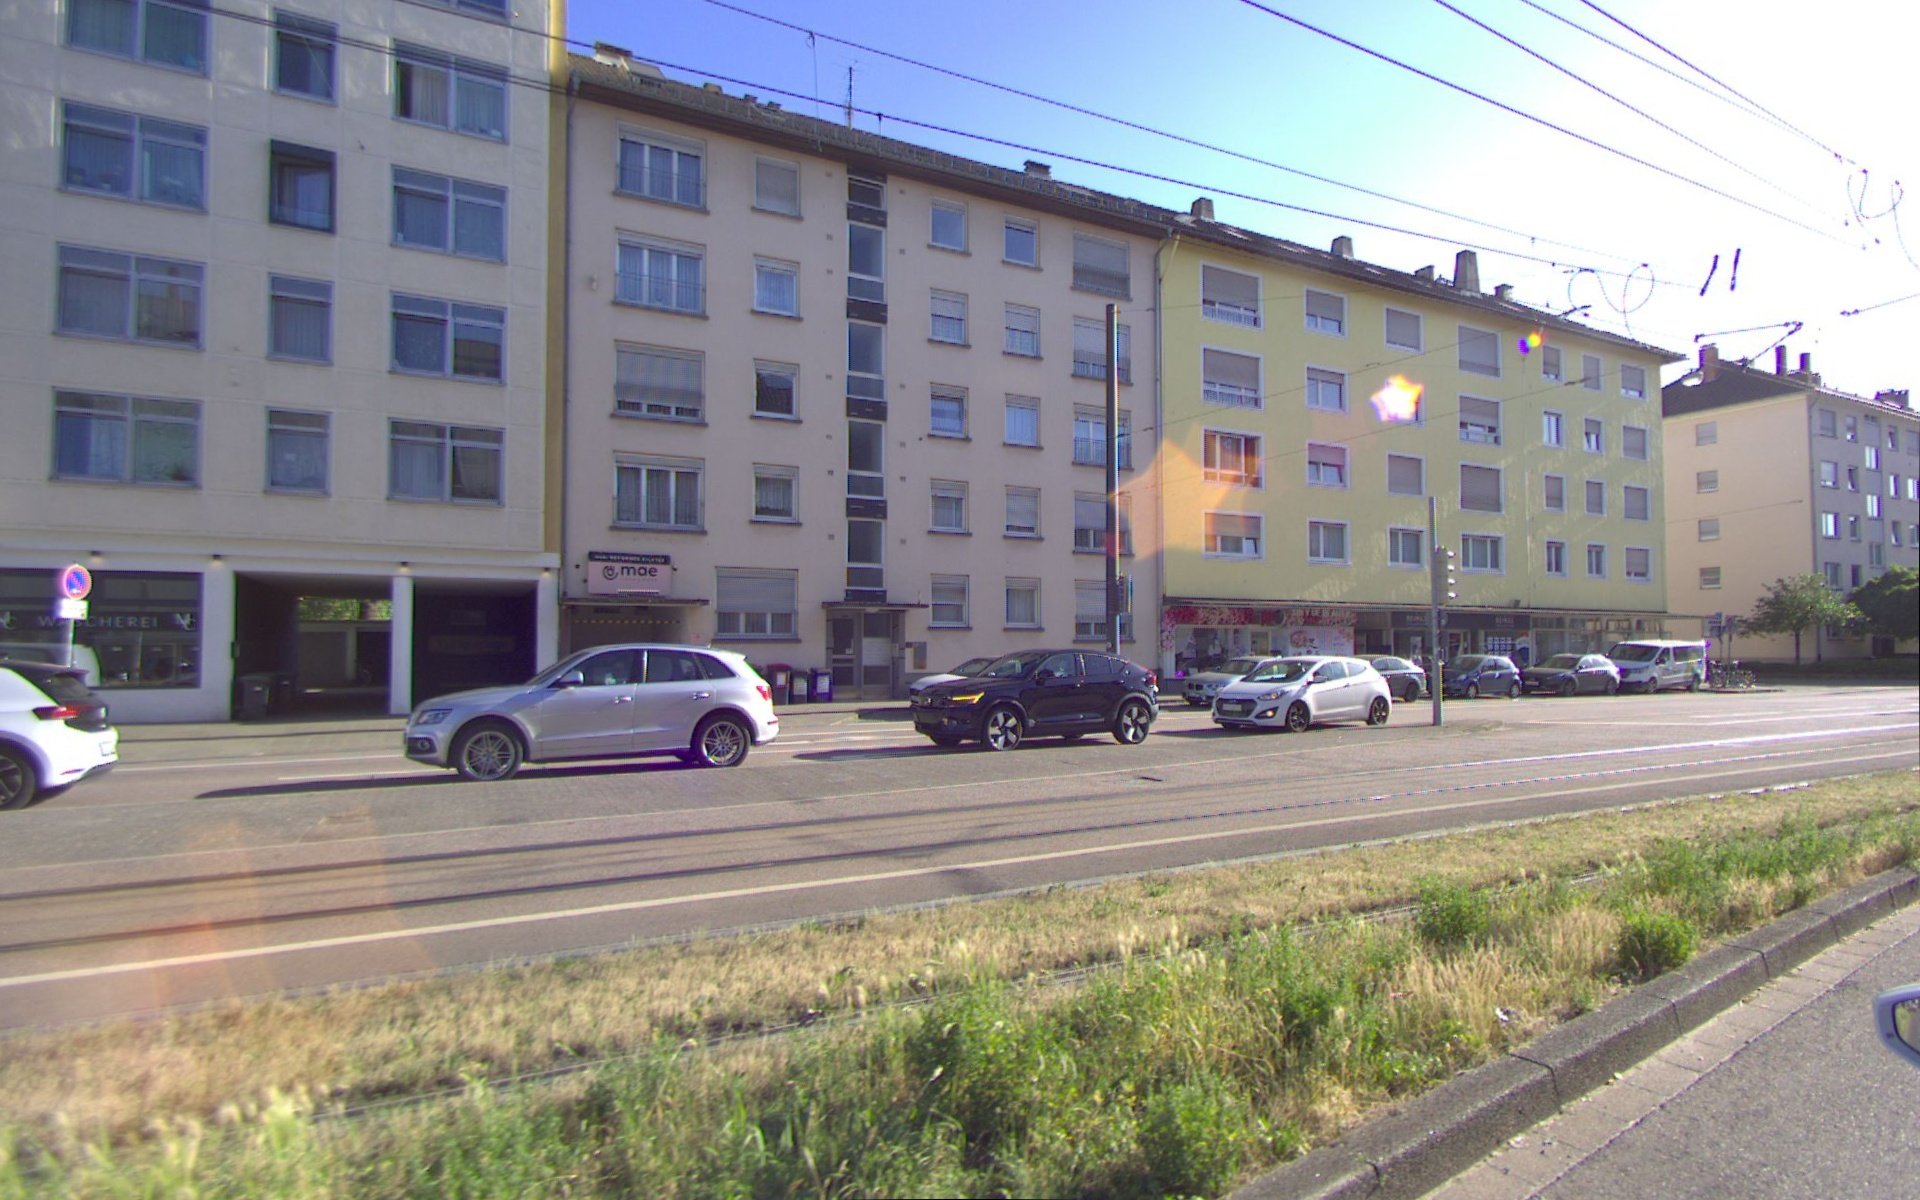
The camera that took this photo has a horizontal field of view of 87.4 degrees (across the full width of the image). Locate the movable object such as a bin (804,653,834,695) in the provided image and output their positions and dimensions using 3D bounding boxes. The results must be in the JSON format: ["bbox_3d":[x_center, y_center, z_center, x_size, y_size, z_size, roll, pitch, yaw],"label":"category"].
[{"bbox_3d":[-3.778,1.960,26.819,0.539,1.065,0.769,2,0,-28],"label":"movable object such as a bin"}]

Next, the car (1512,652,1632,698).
[{"bbox_3d":[22.774,2.756,37.358,4.539,1.493,1.775,2,0,-29],"label":"car"}]

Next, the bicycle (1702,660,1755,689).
[{"bbox_3d":[33.254,3.209,43.509,0.385,1.120,1.812,2,0,-27],"label":"bicycle"}]

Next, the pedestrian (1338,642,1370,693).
[{"bbox_3d":[15.143,2.595,38.610,0.912,1.885,0.668,2,0,-28],"label":"pedestrian"}]

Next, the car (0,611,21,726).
[{"bbox_3d":[-18.156,1.112,15.743,4.615,1.923,1.984,2,0,-30],"label":"car"}]

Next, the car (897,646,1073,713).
[{"bbox_3d":[0.650,1.970,25.466,4.148,1.506,1.751,2,0,-29],"label":"car"}]

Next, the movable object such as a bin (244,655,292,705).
[{"bbox_3d":[-15.272,1.755,22.183,0.765,1.065,0.543,1,-3,-26],"label":"movable object such as a bin"}]

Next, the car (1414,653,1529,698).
[{"bbox_3d":[17.889,2.618,35.110,3.722,1.403,1.775,2,0,-29],"label":"car"}]

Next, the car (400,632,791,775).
[{"bbox_3d":[-4.669,1.252,13.124,4.551,1.602,1.776,1,-3,-29],"label":"car"}]

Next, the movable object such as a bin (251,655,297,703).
[{"bbox_3d":[-15.490,1.781,22.700,0.765,1.065,0.543,1,-3,-26],"label":"movable object such as a bin"}]

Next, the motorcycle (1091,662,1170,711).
[{"bbox_3d":[4.650,2.351,27.459,2.073,1.154,0.486,2,0,29],"label":"motorcycle"}]

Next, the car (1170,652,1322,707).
[{"bbox_3d":[8.418,2.282,29.496,4.364,1.403,1.774,2,0,-30],"label":"car"}]

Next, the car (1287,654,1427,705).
[{"bbox_3d":[12.678,2.486,32.011,4.361,1.439,1.775,2,0,-29],"label":"car"}]

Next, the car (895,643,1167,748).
[{"bbox_3d":[1.241,1.504,16.737,4.368,1.548,1.773,2,-4,-34],"label":"car"}]

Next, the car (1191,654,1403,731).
[{"bbox_3d":[6.889,1.801,20.391,4.370,1.403,1.823,2,-4,-34],"label":"car"}]

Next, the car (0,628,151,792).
[{"bbox_3d":[-10.830,1.092,9.859,4.191,1.570,1.849,2,-5,-30],"label":"car"}]

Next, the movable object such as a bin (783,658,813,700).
[{"bbox_3d":[-4.276,2.079,26.547,0.539,1.065,0.769,2,0,-28],"label":"movable object such as a bin"}]

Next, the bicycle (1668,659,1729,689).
[{"bbox_3d":[31.268,3.115,42.569,0.466,1.120,2.090,2,0,-27],"label":"bicycle"}]

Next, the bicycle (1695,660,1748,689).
[{"bbox_3d":[32.850,3.208,43.345,0.385,1.120,1.812,2,0,-27],"label":"bicycle"}]

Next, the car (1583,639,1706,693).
[{"bbox_3d":[27.523,2.617,40.329,5.438,1.975,1.983,2,0,-31],"label":"car"}]
